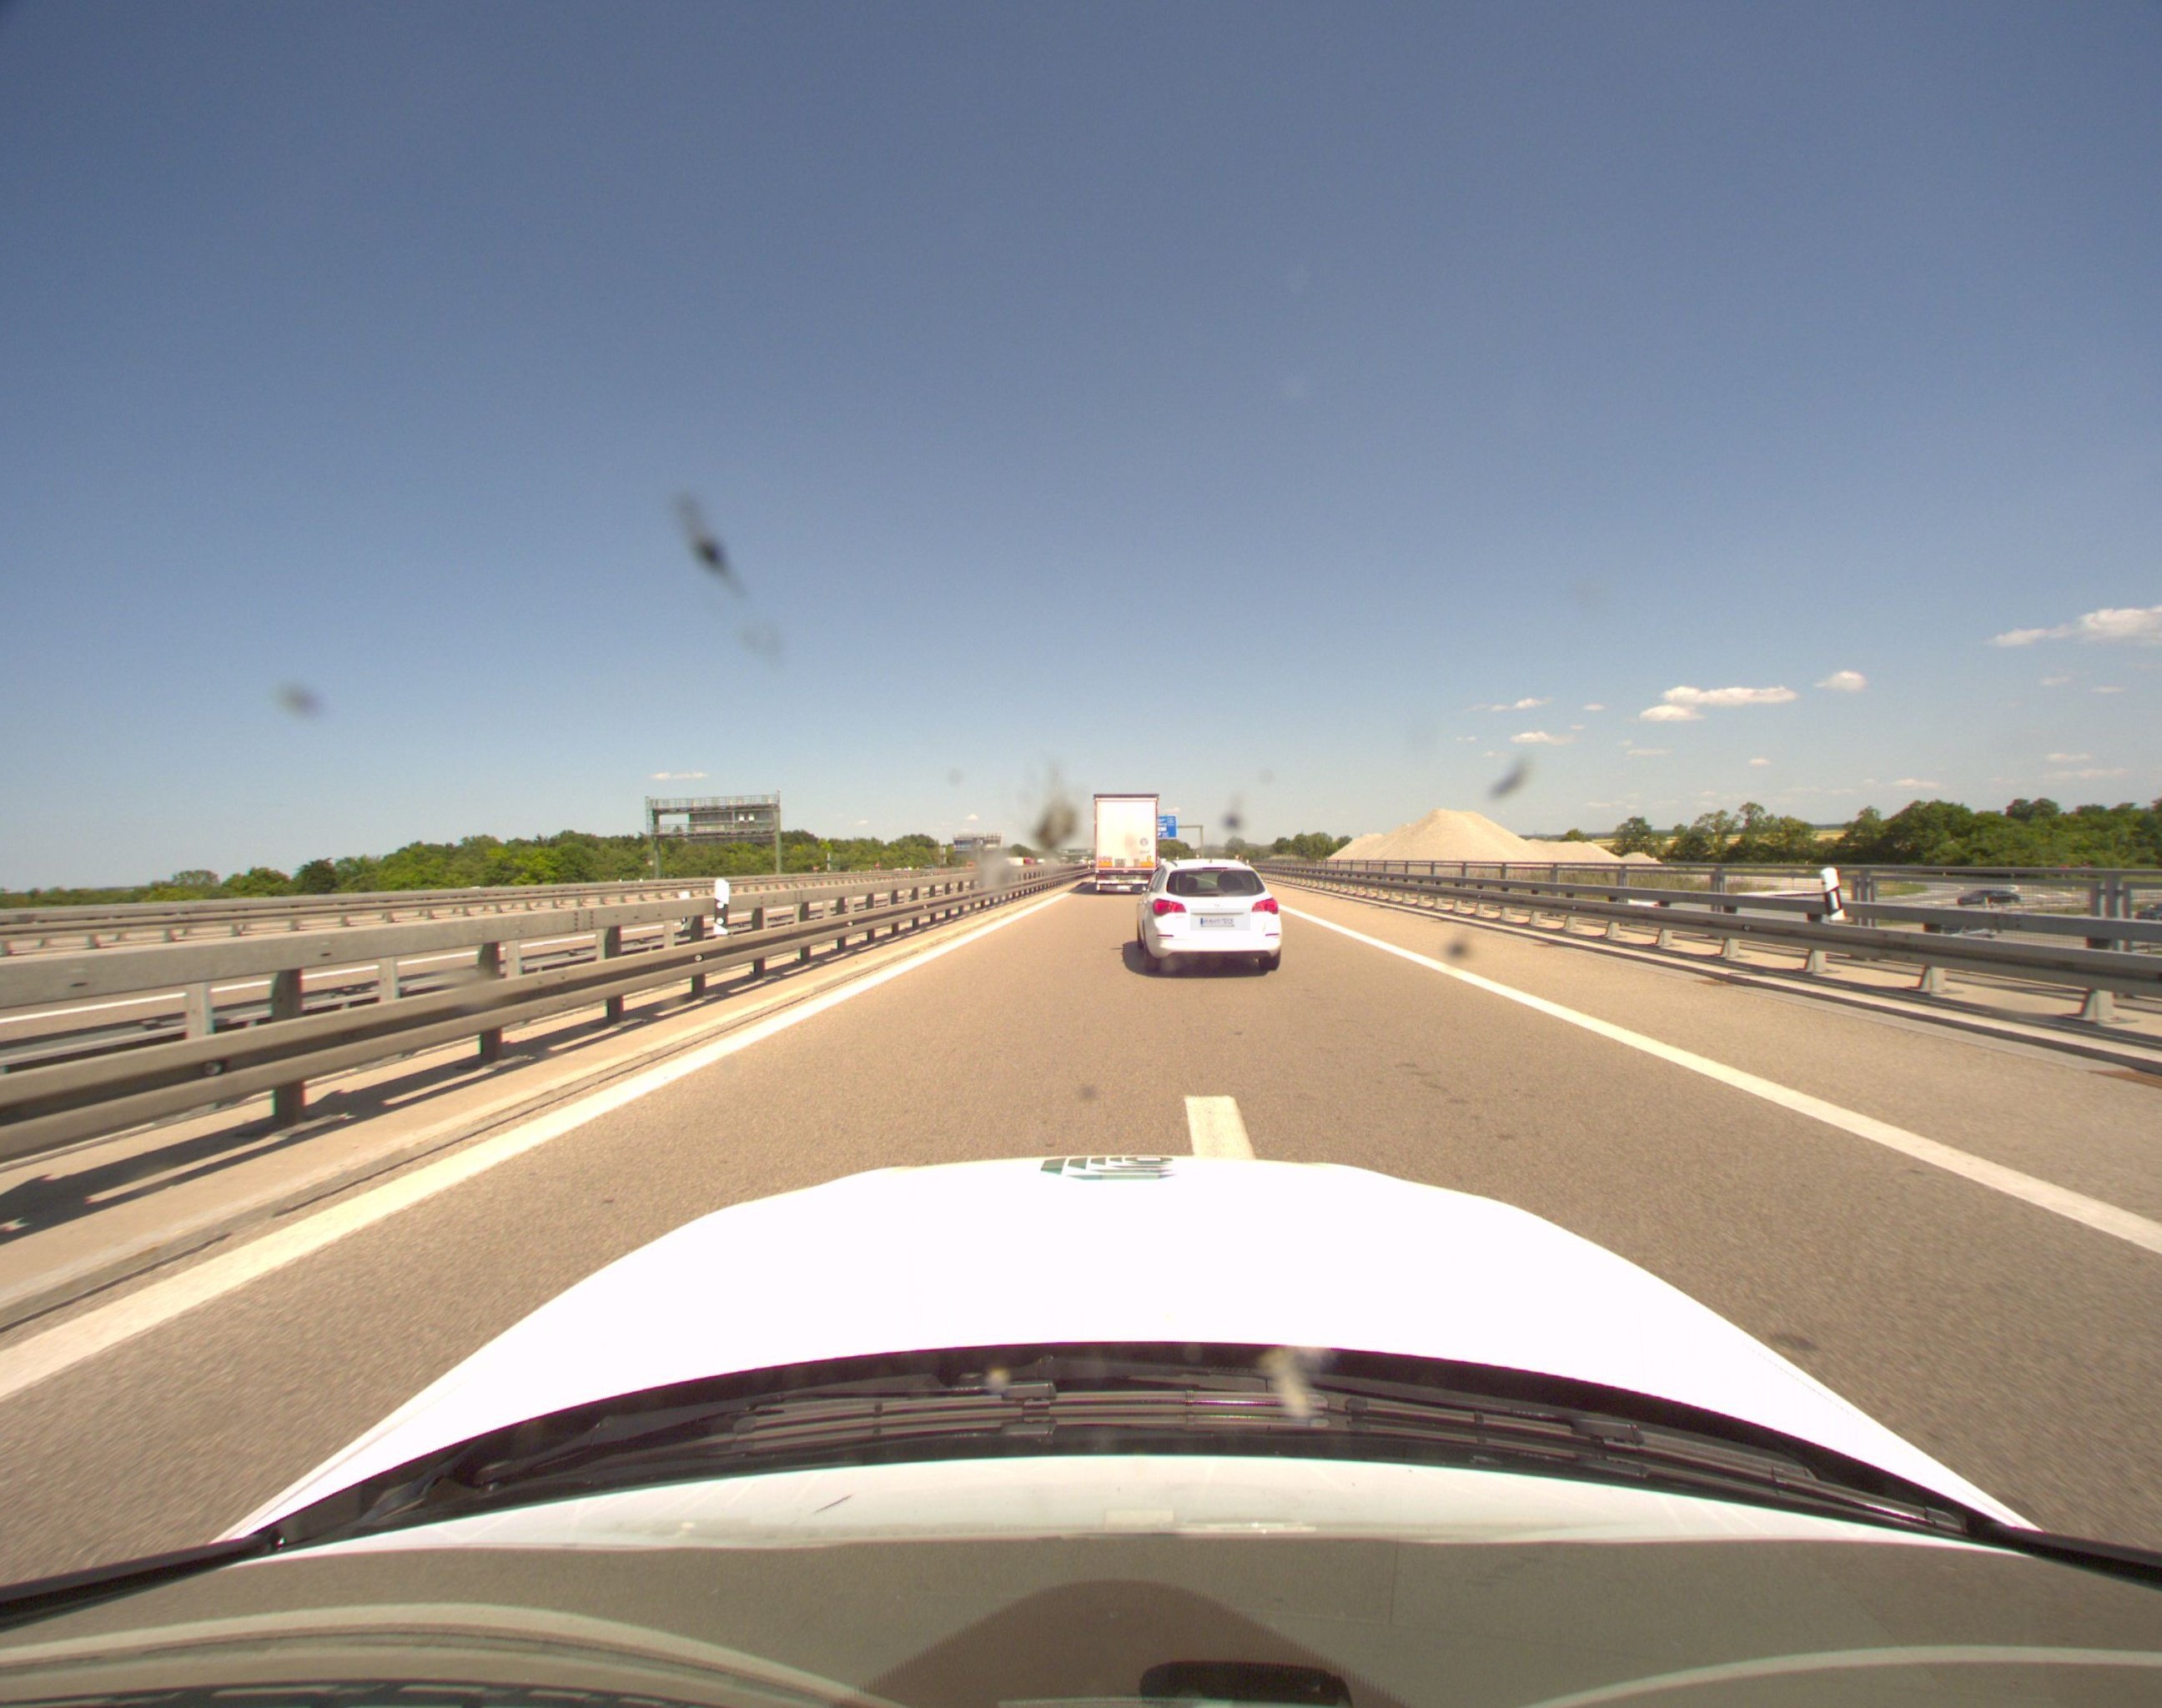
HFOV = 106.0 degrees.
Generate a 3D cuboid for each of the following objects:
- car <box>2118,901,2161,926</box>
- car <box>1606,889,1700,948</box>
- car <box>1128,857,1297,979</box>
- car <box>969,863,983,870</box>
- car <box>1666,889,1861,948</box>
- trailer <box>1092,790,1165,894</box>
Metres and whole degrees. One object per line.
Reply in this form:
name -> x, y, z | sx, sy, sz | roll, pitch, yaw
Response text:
car -> 86.117, 4.751, 65.276 | 4.330, 1.734, 1.856 | -1, 0, -9
car -> 40.598, 4.551, 57.907 | 5.135, 3.964, 2.478 | 0, -1, -6
car -> 1.718, 0.784, 12.037 | 1.848, 1.443, 4.372 | -1, 0, 1
car -> -22.363, 2.672, 173.539 | 1.829, 1.517, 5.304 | -2, 0, 5
car -> 49.168, 4.572, 58.775 | 12.951, 3.964, 2.478 | 0, -1, -6
trailer -> 2.354, -0.392, 38.156 | 2.899, 4.145, 11.271 | 0, -1, 5
